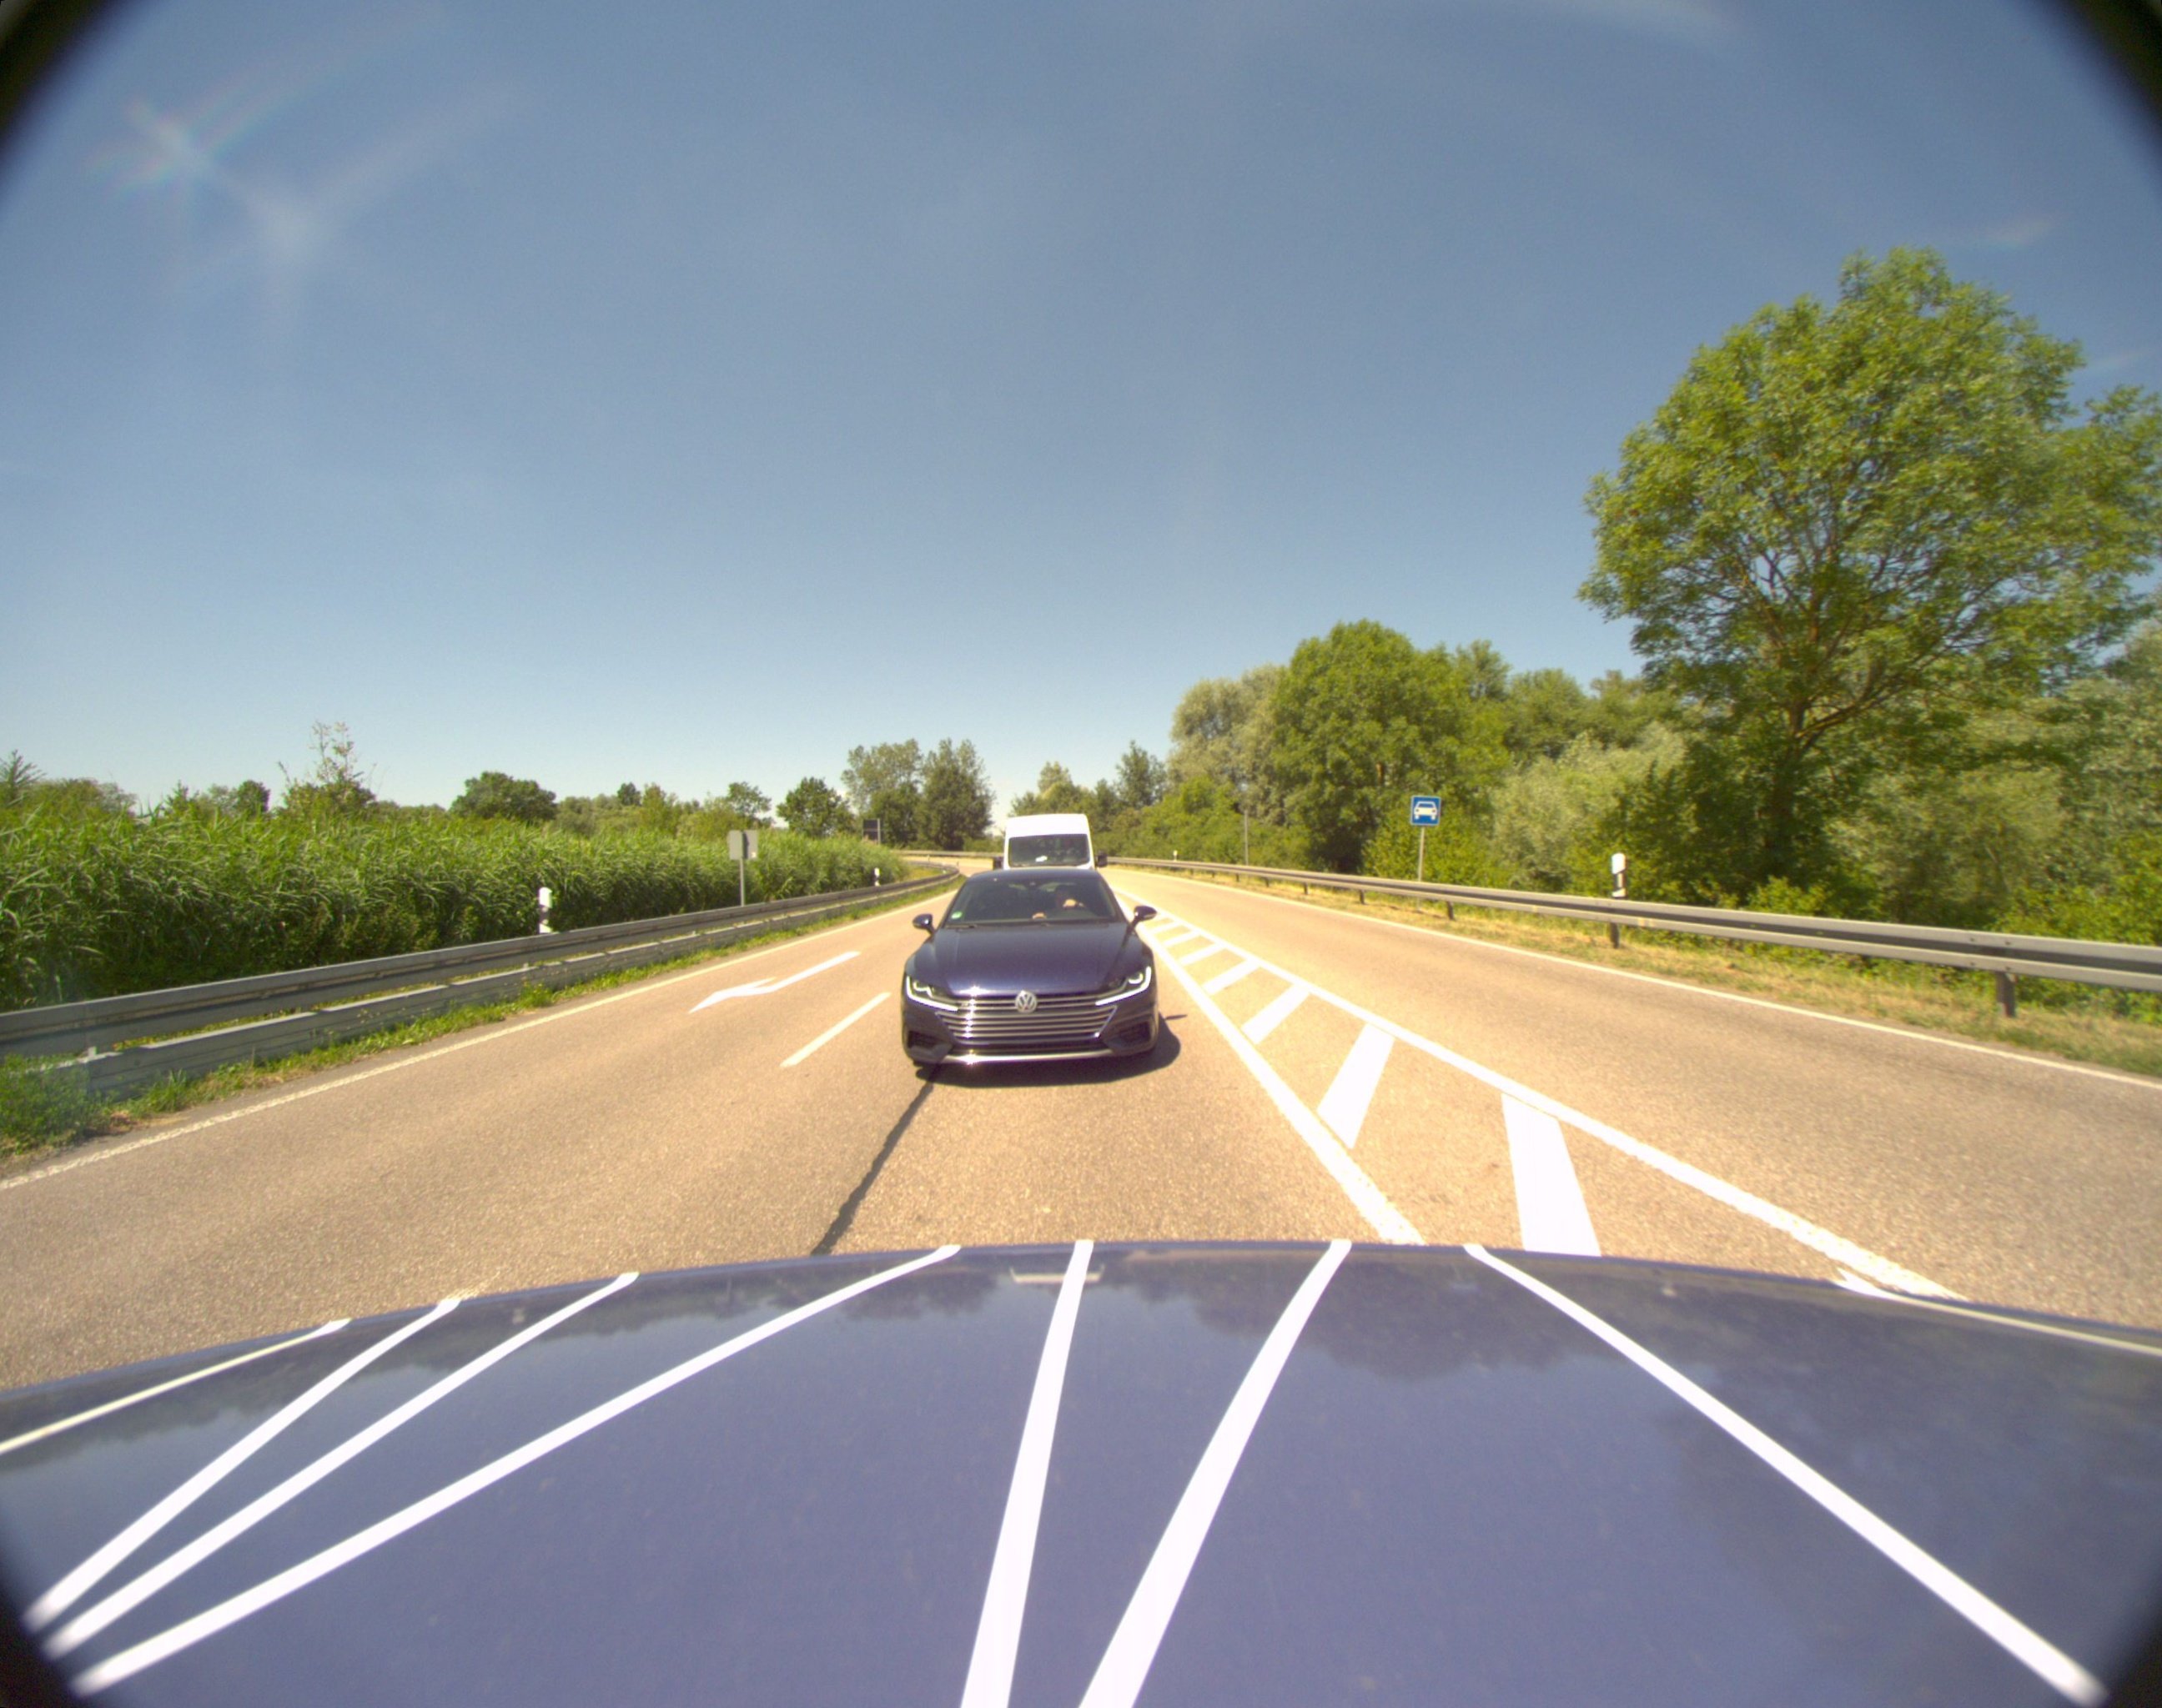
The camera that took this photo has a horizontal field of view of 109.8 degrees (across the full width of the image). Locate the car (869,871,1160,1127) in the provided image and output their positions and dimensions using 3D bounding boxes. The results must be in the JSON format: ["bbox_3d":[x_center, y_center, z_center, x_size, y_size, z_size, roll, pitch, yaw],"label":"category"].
[{"bbox_3d":[-0.402,0.949,6.725,1.761,1.401,3.999,-2,1,0],"label":"car"}]

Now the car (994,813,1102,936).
[{"bbox_3d":[-0.642,0.382,18.088,2.059,2.376,5.826,-2,1,0],"label":"car"}]
